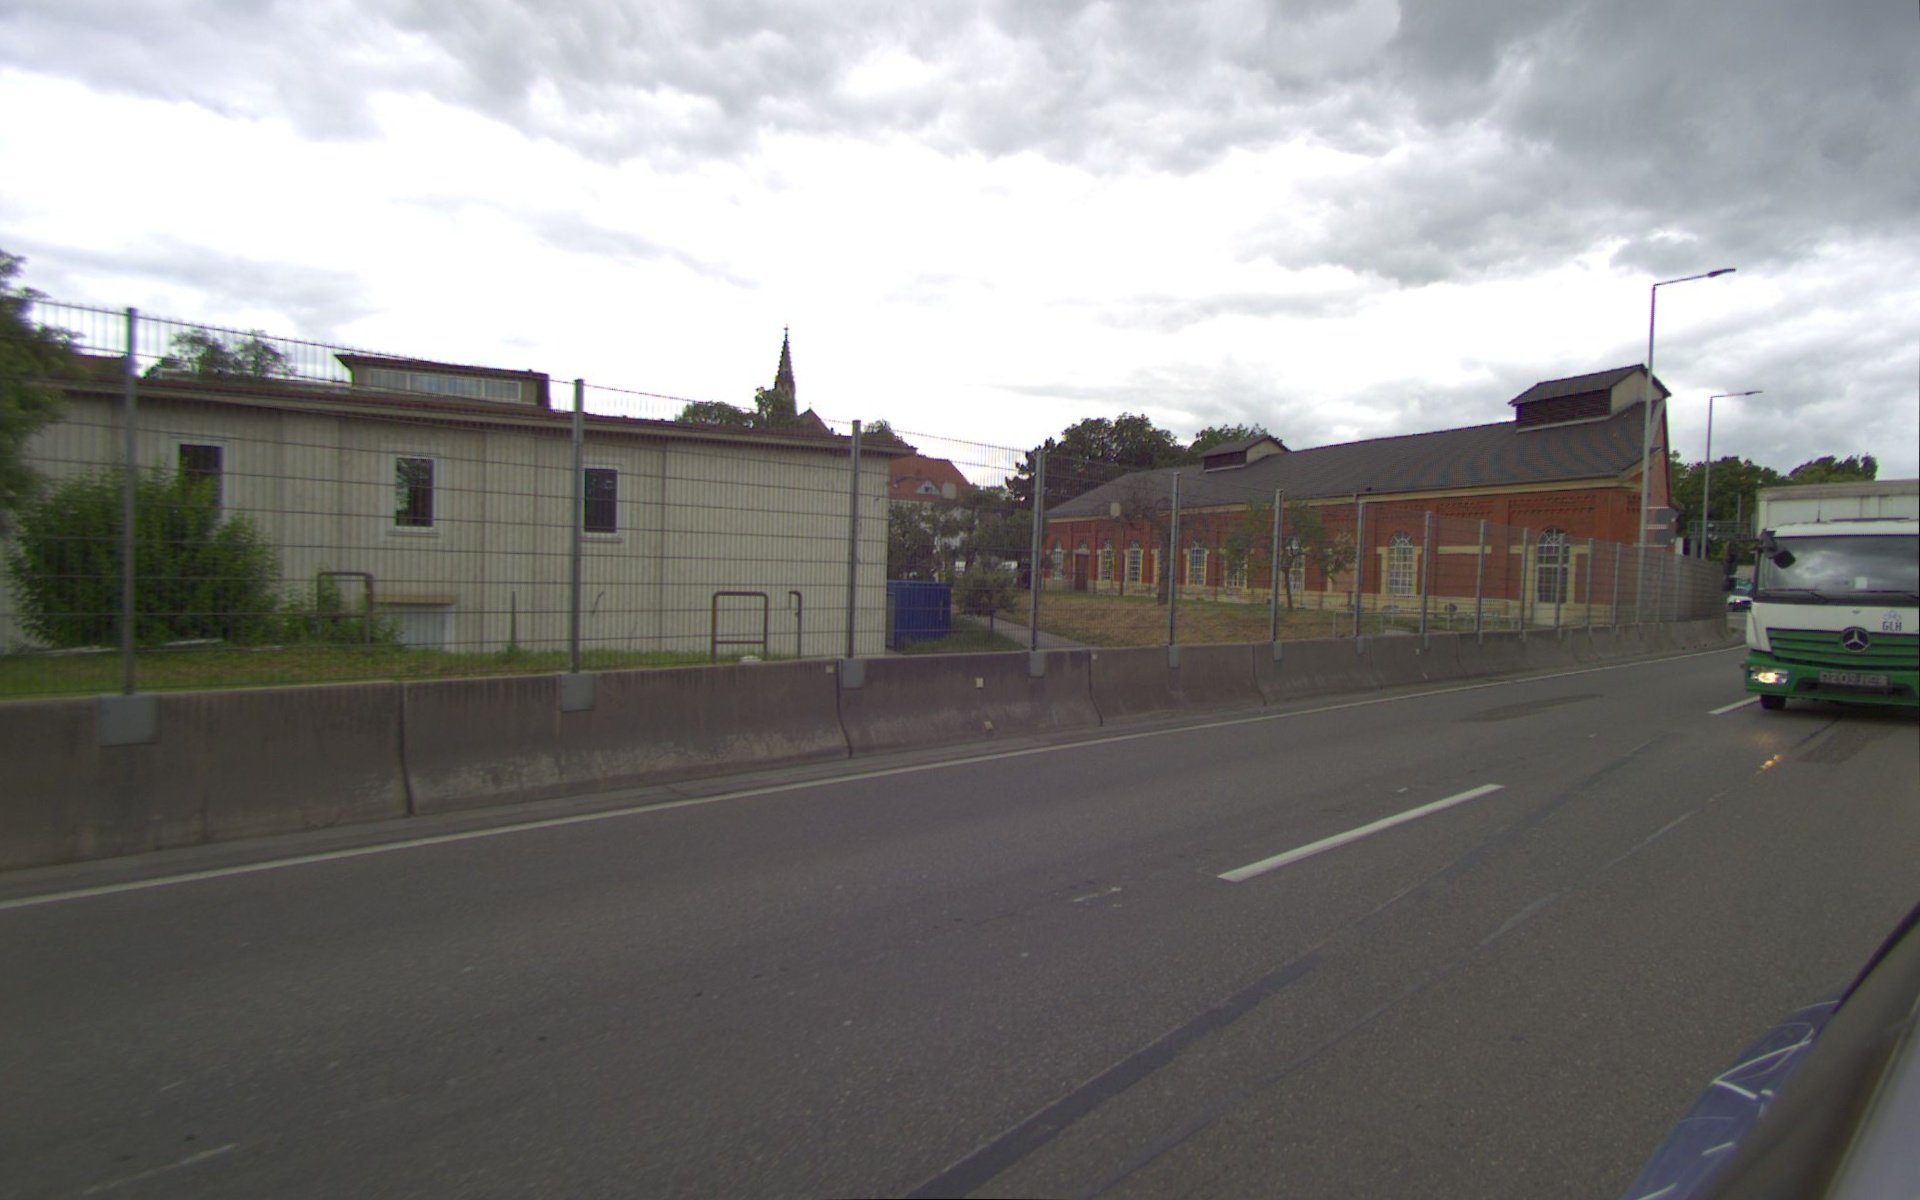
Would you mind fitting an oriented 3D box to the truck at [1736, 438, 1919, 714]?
[{"bbox_3d":[13.821,-0.278,14.790,7.288,3.280,2.633,0,-1,-42],"label":"truck"}]

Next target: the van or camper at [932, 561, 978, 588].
[{"bbox_3d":[-0.433,-2.022,80.210,1.866,2.039,4.505,0,1,-27],"label":"van or camper"}]

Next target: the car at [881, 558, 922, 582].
[{"bbox_3d":[-4.698,-2.369,80.825,1.958,1.805,4.008,0,1,-24],"label":"car"}]

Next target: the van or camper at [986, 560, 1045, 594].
[{"bbox_3d":[3.587,-1.522,66.343,1.958,2.172,4.579,0,1,-24],"label":"van or camper"}]
